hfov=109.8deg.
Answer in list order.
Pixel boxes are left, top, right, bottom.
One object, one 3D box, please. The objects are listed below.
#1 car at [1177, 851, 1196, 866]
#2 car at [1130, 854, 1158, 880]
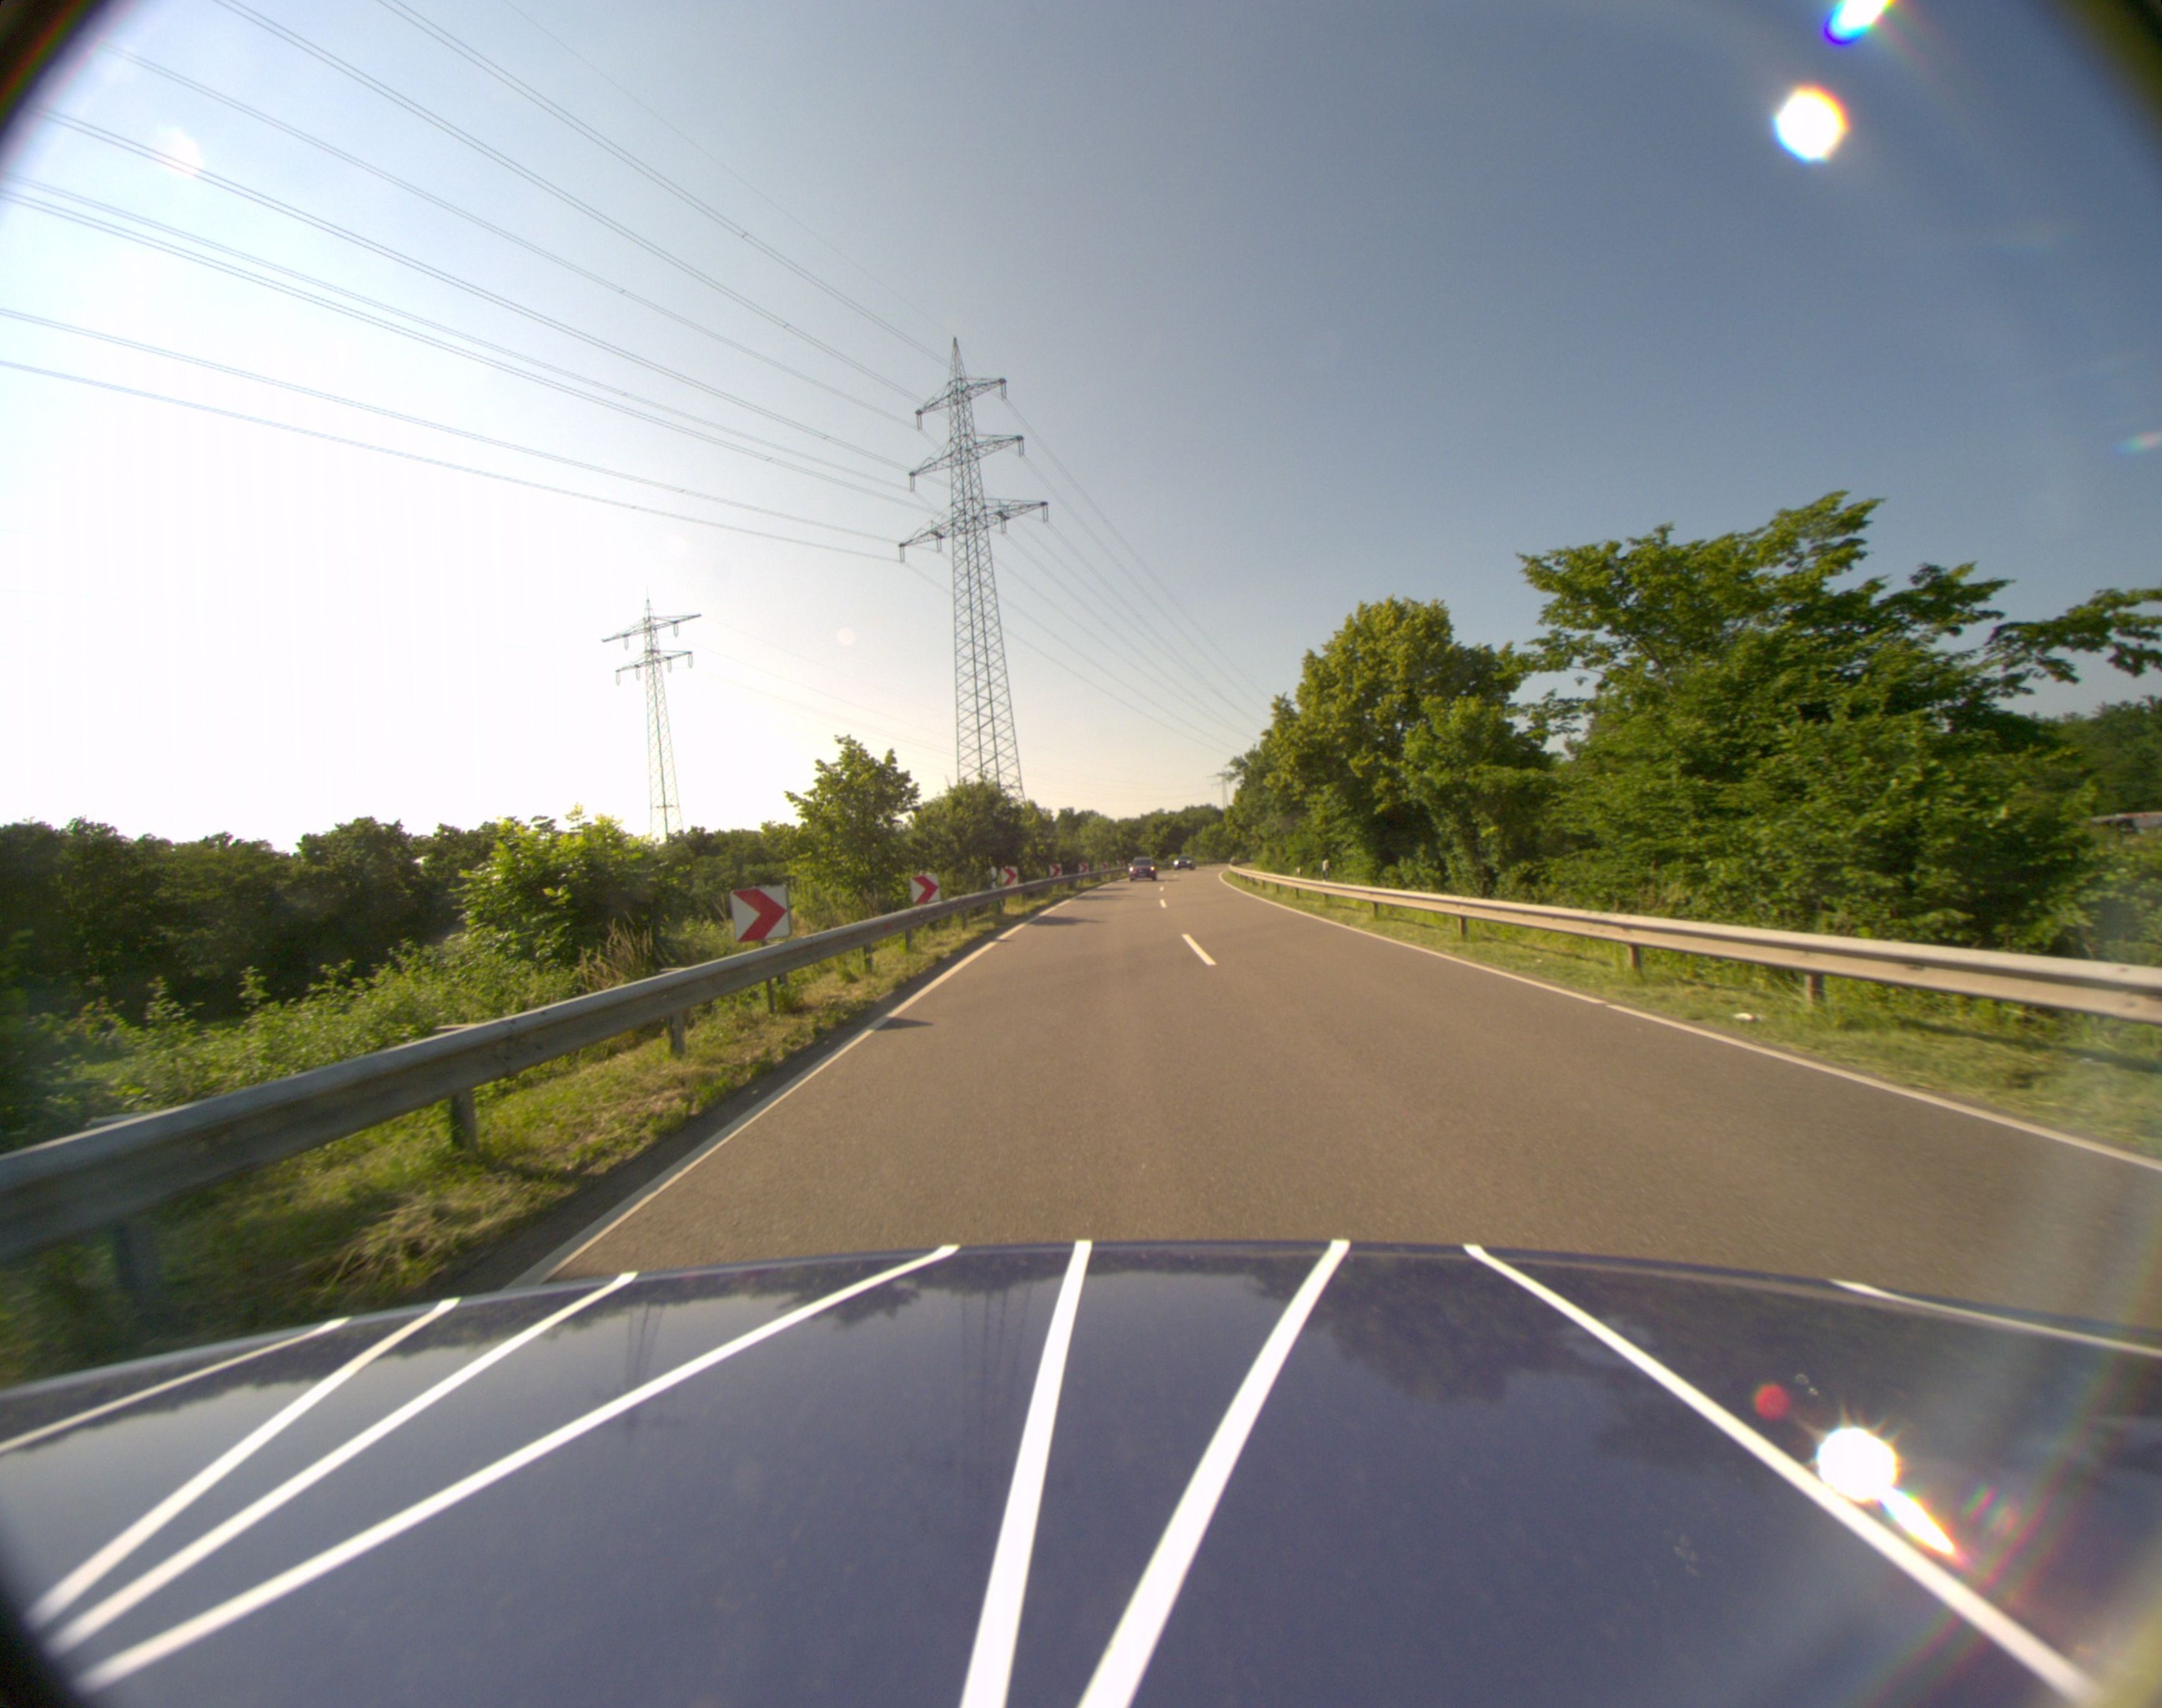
[{"bbox_3d":[11.653,0.443,83.956,1.605,1.486,4.003,-2,1,14],"label":"car"},{"bbox_3d":[4.139,0.829,49.619,1.606,1.486,4.001,-2,1,7],"label":"car"}]
